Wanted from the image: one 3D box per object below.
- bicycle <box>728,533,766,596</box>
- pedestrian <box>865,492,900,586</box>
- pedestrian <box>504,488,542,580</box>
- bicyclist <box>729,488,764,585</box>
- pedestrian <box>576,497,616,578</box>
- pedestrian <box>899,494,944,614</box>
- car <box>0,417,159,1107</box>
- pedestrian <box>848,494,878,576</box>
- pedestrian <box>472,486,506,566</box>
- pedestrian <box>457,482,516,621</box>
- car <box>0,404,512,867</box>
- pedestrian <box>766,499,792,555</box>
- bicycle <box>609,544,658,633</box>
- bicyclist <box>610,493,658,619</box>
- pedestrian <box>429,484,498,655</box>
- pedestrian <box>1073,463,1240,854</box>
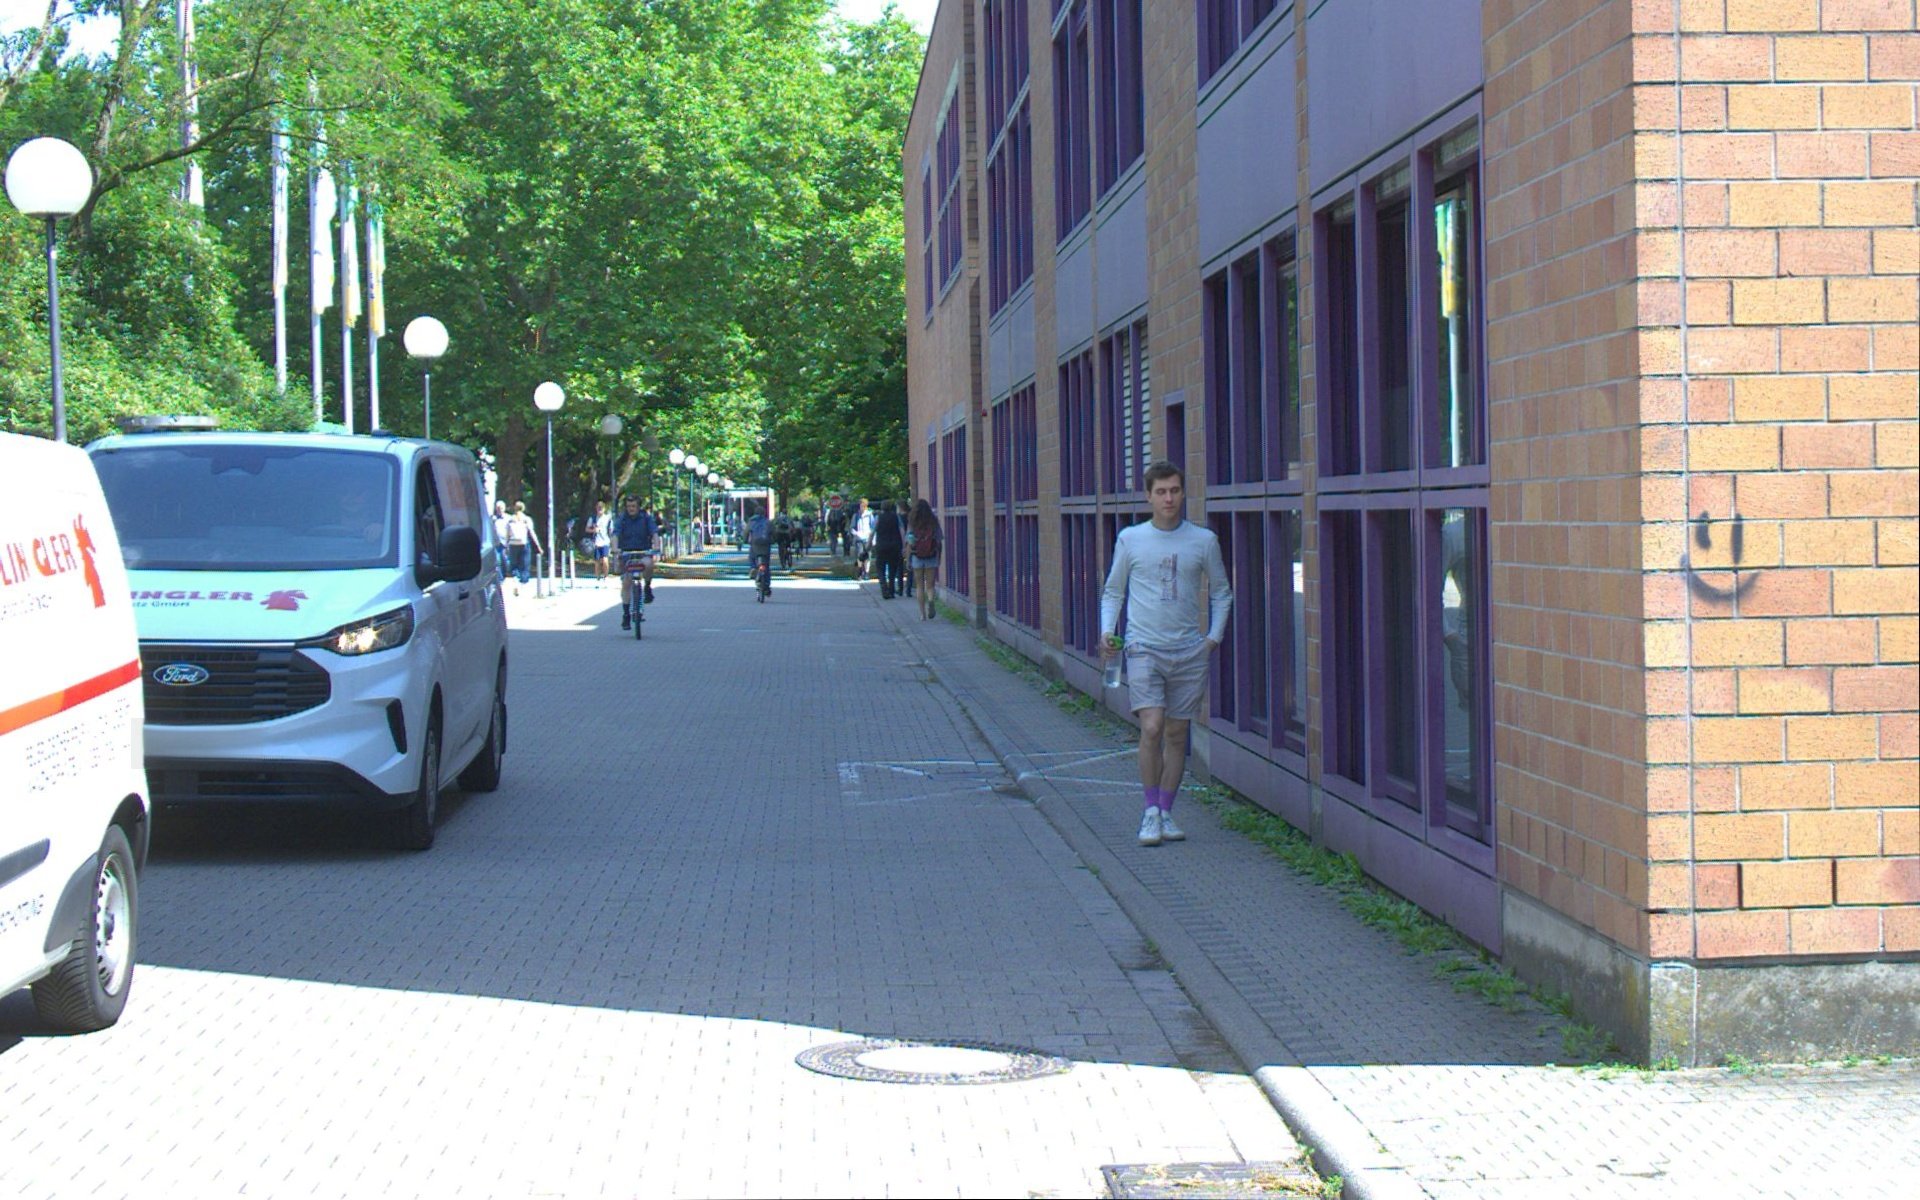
[{"bbox_3d":[-3.771,-0.635,60.740,0.587,1.080,1.908,0,1,-6],"label":"bicycle"},{"bbox_3d":[-1.406,-1.103,62.188,0.586,1.667,0.817,-1,0,-1],"label":"pedestrian"},{"bbox_3d":[-8.013,-1.205,63.022,0.586,1.667,0.699,-1,0,-1],"label":"pedestrian"},{"bbox_3d":[-3.774,-1.123,60.739,0.587,1.710,0.665,0,1,-6],"label":"bicyclist"},{"bbox_3d":[-7.590,-1.293,71.657,0.725,1.667,0.748,-1,0,-1],"label":"pedestrian"},{"bbox_3d":[-0.547,-0.648,48.618,0.586,1.667,0.699,-1,0,-1],"label":"pedestrian"},{"bbox_3d":[-3.342,0.431,8.287,1.790,1.755,4.482,-1,1,-1],"label":"car"},{"bbox_3d":[-2.287,-1.537,81.471,0.653,1.916,0.817,-1,0,-1],"label":"pedestrian"},{"bbox_3d":[-9.913,-1.559,72.372,0.586,1.667,0.699,-1,0,-1],"label":"pedestrian"},{"bbox_3d":[-5.767,-0.586,41.870,0.586,1.667,0.699,-1,0,-1],"label":"pedestrian"},{"bbox_3d":[-3.421,0.089,17.228,1.883,1.967,5.215,0,1,-3],"label":"car"},{"bbox_3d":[-5.543,-2.233,105.322,0.725,1.667,0.748,-1,0,-1],"label":"pedestrian"},{"bbox_3d":[-4.088,-0.156,43.003,0.587,1.080,1.814,0,1,-6],"label":"bicycle"},{"bbox_3d":[-4.081,-0.554,42.964,0.587,1.567,0.829,0,1,-6],"label":"bicyclist"},{"bbox_3d":[-5.209,-0.317,36.080,0.586,1.759,0.699,-1,0,-1],"label":"pedestrian"},{"bbox_3d":[0.890,0.260,15.735,0.682,1.741,0.783,0,0,-2],"label":"pedestrian"}]
